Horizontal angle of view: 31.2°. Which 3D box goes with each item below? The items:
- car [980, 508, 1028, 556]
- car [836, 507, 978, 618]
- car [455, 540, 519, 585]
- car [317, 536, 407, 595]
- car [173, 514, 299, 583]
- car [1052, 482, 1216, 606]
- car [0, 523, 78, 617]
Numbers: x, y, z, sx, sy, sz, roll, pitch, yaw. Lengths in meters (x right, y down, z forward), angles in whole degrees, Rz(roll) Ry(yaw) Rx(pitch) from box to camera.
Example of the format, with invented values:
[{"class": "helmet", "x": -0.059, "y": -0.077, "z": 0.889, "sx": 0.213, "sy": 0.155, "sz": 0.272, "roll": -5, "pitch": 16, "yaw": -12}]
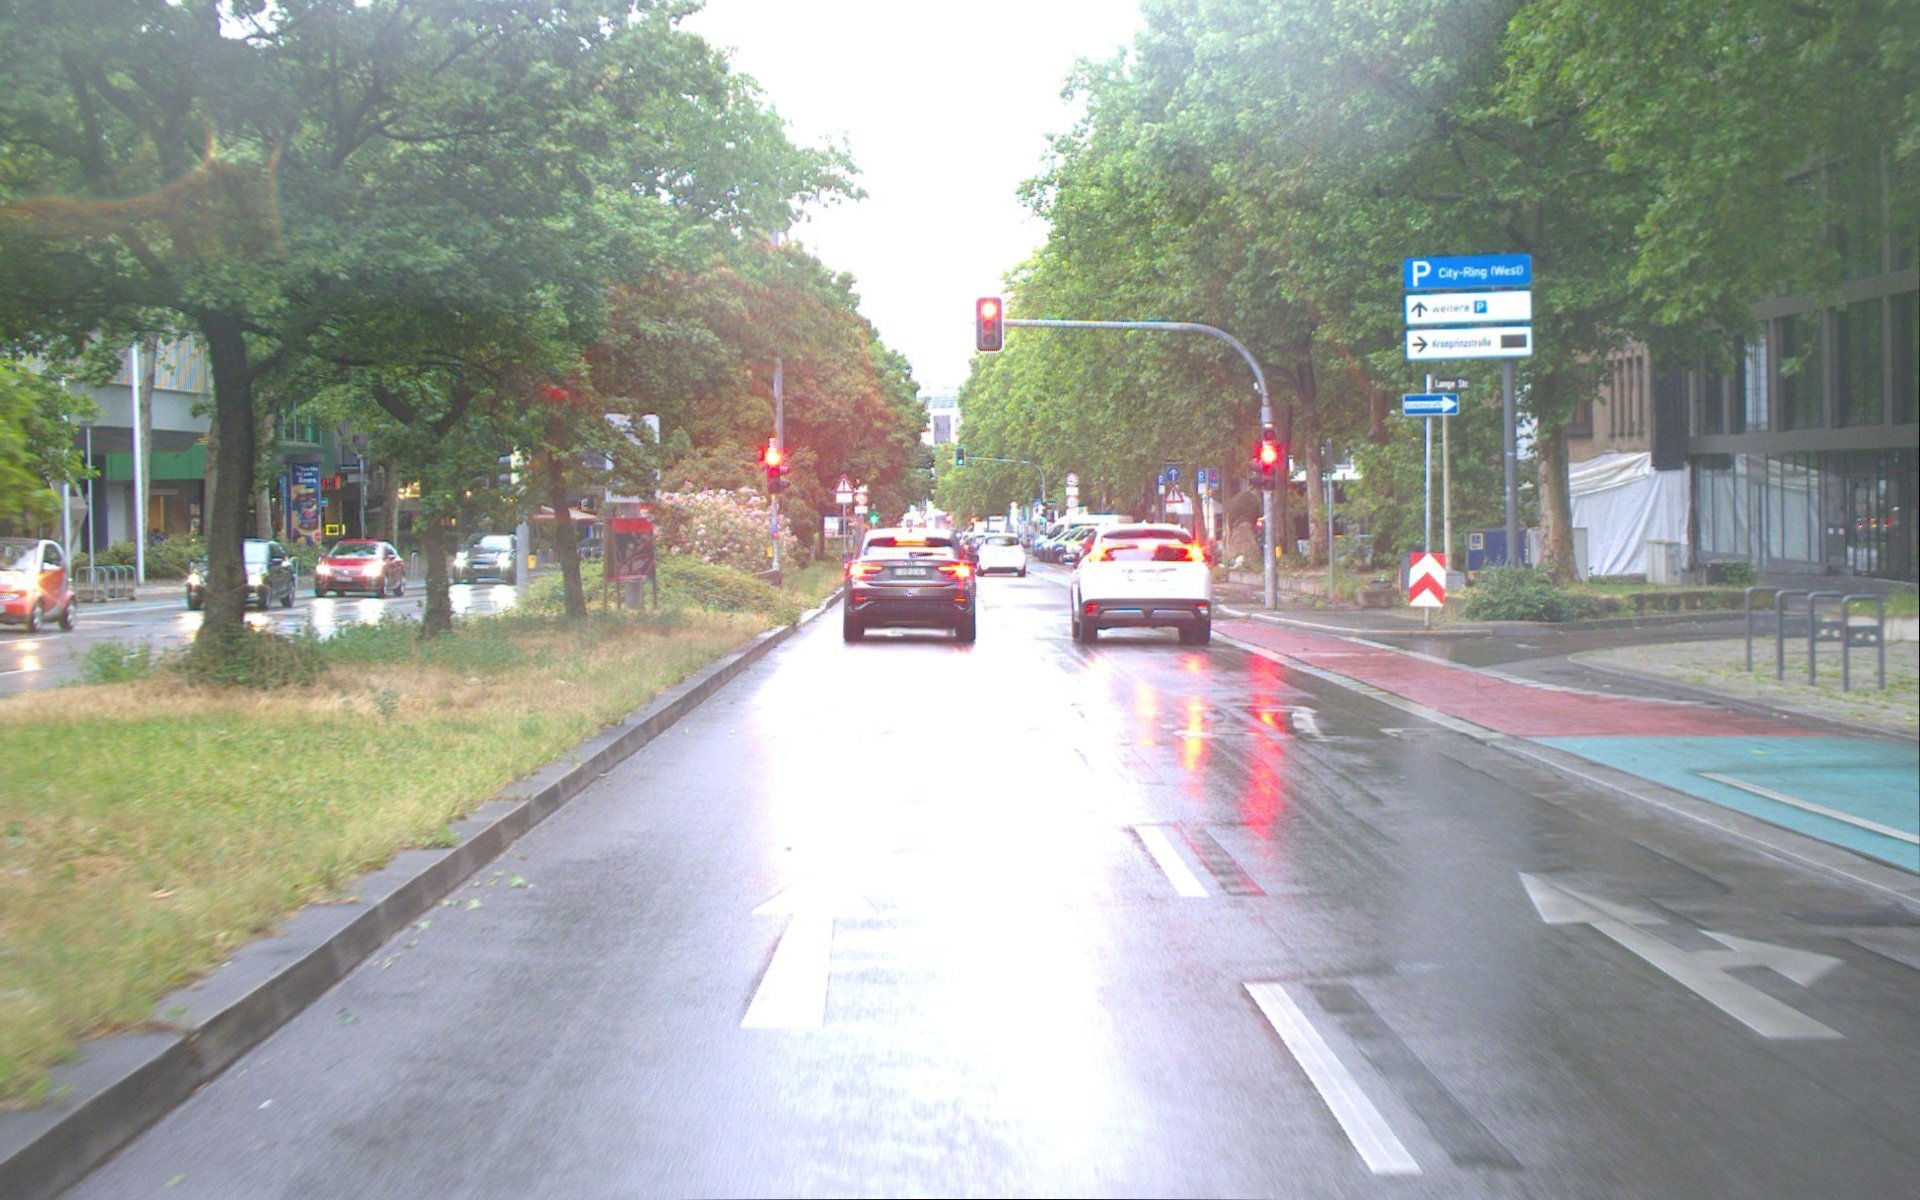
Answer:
[{"class": "car", "x": 1.575, "y": -2.488, "z": 124.561, "sx": 1.620, "sy": 1.660, "sz": 4.001, "roll": -1, "pitch": 2, "yaw": -1}, {"class": "car", "x": -0.747, "y": -0.561, "z": 48.425, "sx": 1.918, "sy": 1.486, "sz": 4.001, "roll": 0, "pitch": 2, "yaw": -1}, {"class": "car", "x": -15.082, "y": -1.187, "z": 109.710, "sx": 1.614, "sy": 1.389, "sz": 3.597, "roll": 0, "pitch": 0, "yaw": -1}, {"class": "car", "x": -15.198, "y": -0.906, "z": 87.464, "sx": 1.614, "sy": 1.389, "sz": 4.185, "roll": 0, "pitch": 2, "yaw": -1}, {"class": "car", "x": -15.186, "y": -1.109, "z": 72.297, "sx": 1.843, "sy": 1.384, "sz": 4.001, "roll": 0, "pitch": 2, "yaw": -1}, {"class": "car", "x": 2.397, "y": -0.840, "z": 48.521, "sx": 1.993, "sy": 1.649, "sz": 4.889, "roll": 0, "pitch": 2, "yaw": -1}, {"class": "car", "x": -15.347, "y": -0.501, "z": 55.480, "sx": 1.494, "sy": 1.458, "sz": 2.732, "roll": 0, "pitch": 2, "yaw": 1}]
